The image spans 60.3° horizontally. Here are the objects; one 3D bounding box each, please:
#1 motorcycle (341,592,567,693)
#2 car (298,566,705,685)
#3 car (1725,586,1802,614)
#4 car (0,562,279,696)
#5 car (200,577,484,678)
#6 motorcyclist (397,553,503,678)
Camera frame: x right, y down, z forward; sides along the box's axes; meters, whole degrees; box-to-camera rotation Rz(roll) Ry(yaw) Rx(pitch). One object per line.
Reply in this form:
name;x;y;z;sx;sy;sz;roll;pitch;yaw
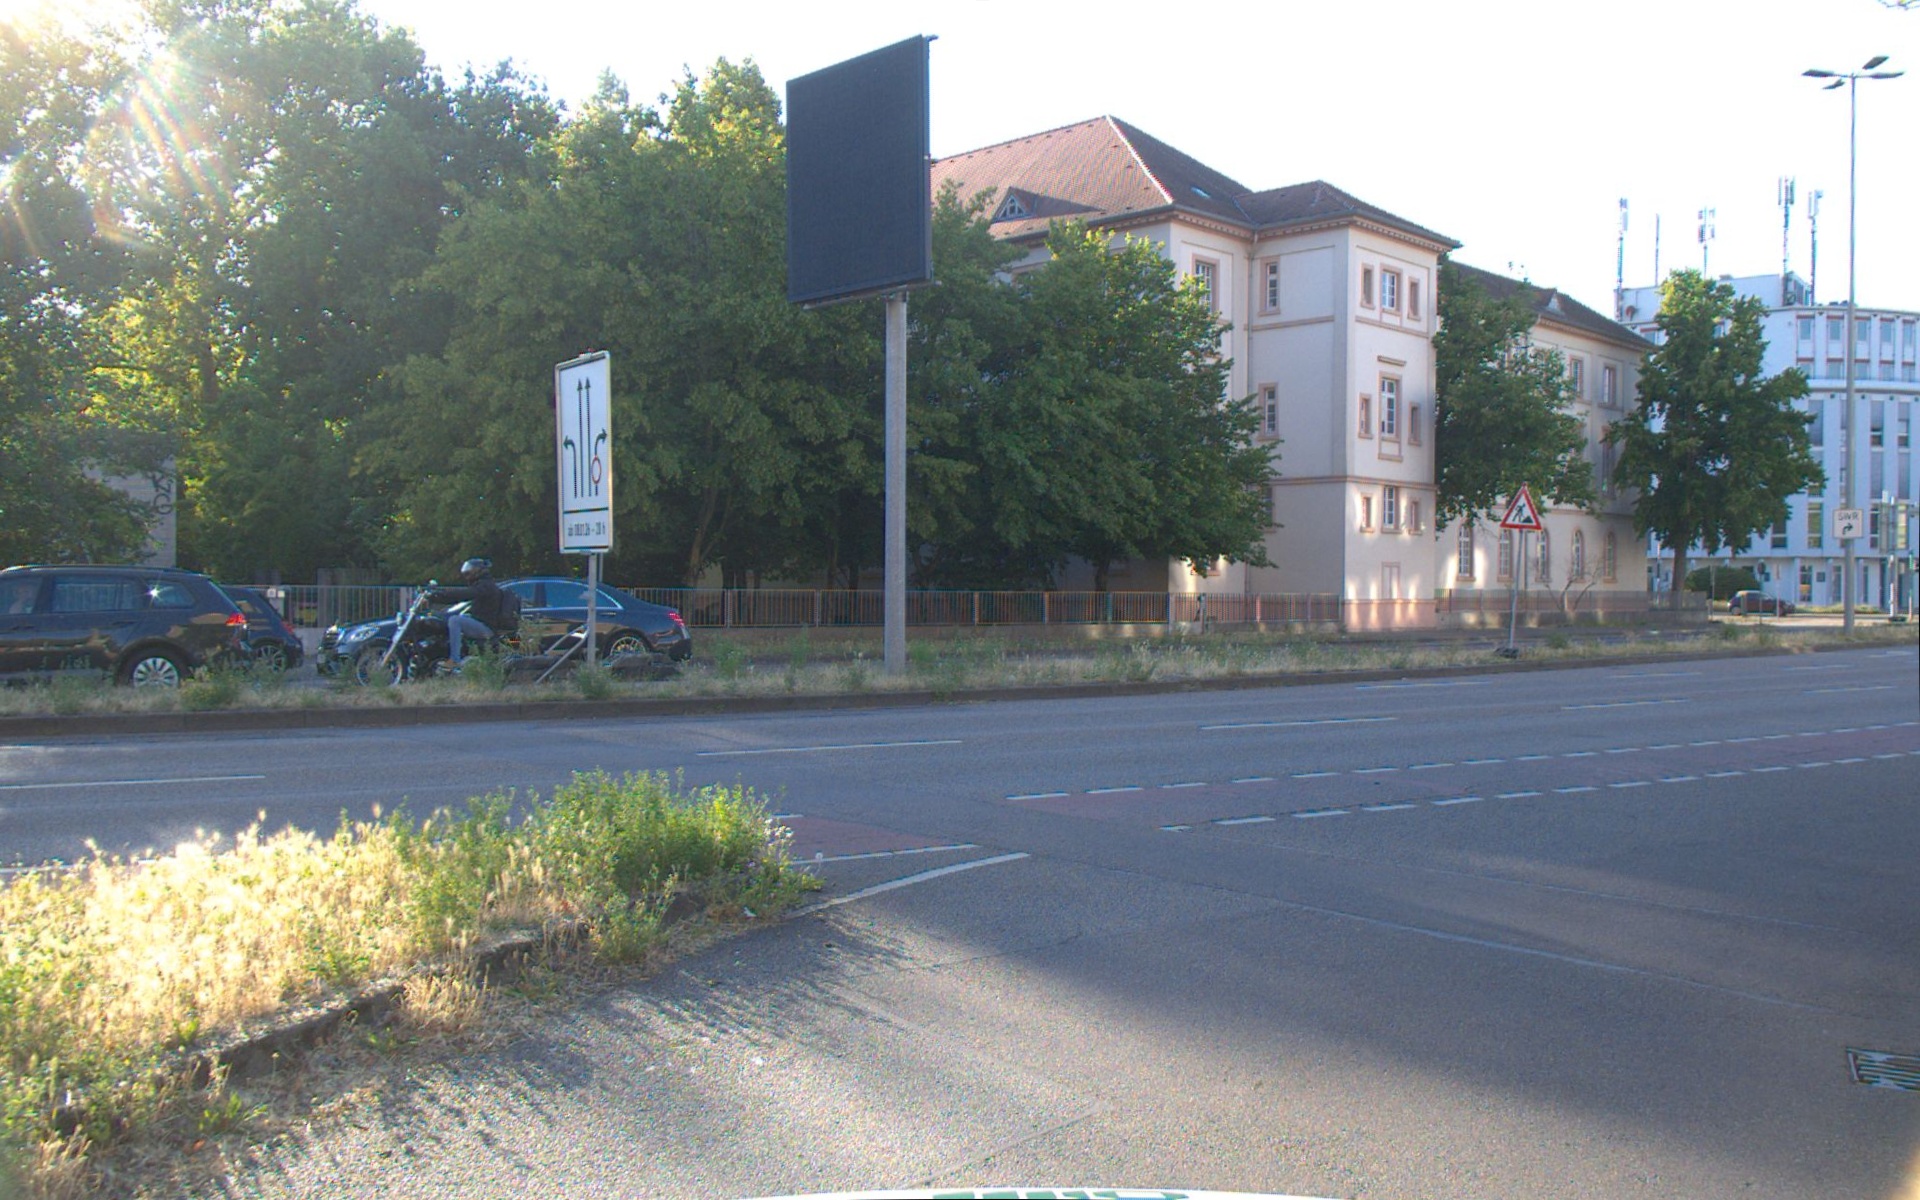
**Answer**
motorcycle;-5.962;0.469;19.541;2.436;1.127;0.852;0;0;-31
car;-6.403;0.311;23.431;5.234;1.522;1.974;0;0;-37
car;47.702;0.028;98.231;3.750;1.557;1.853;-1;-3;41
car;-9.515;0.279;17.233;4.317;1.319;1.707;0;0;-31
car;-9.904;0.392;26.628;3.957;1.489;1.835;0;1;-37
motorcyclist;-6.014;0.175;19.506;1.047;1.422;0.846;0;0;-30
